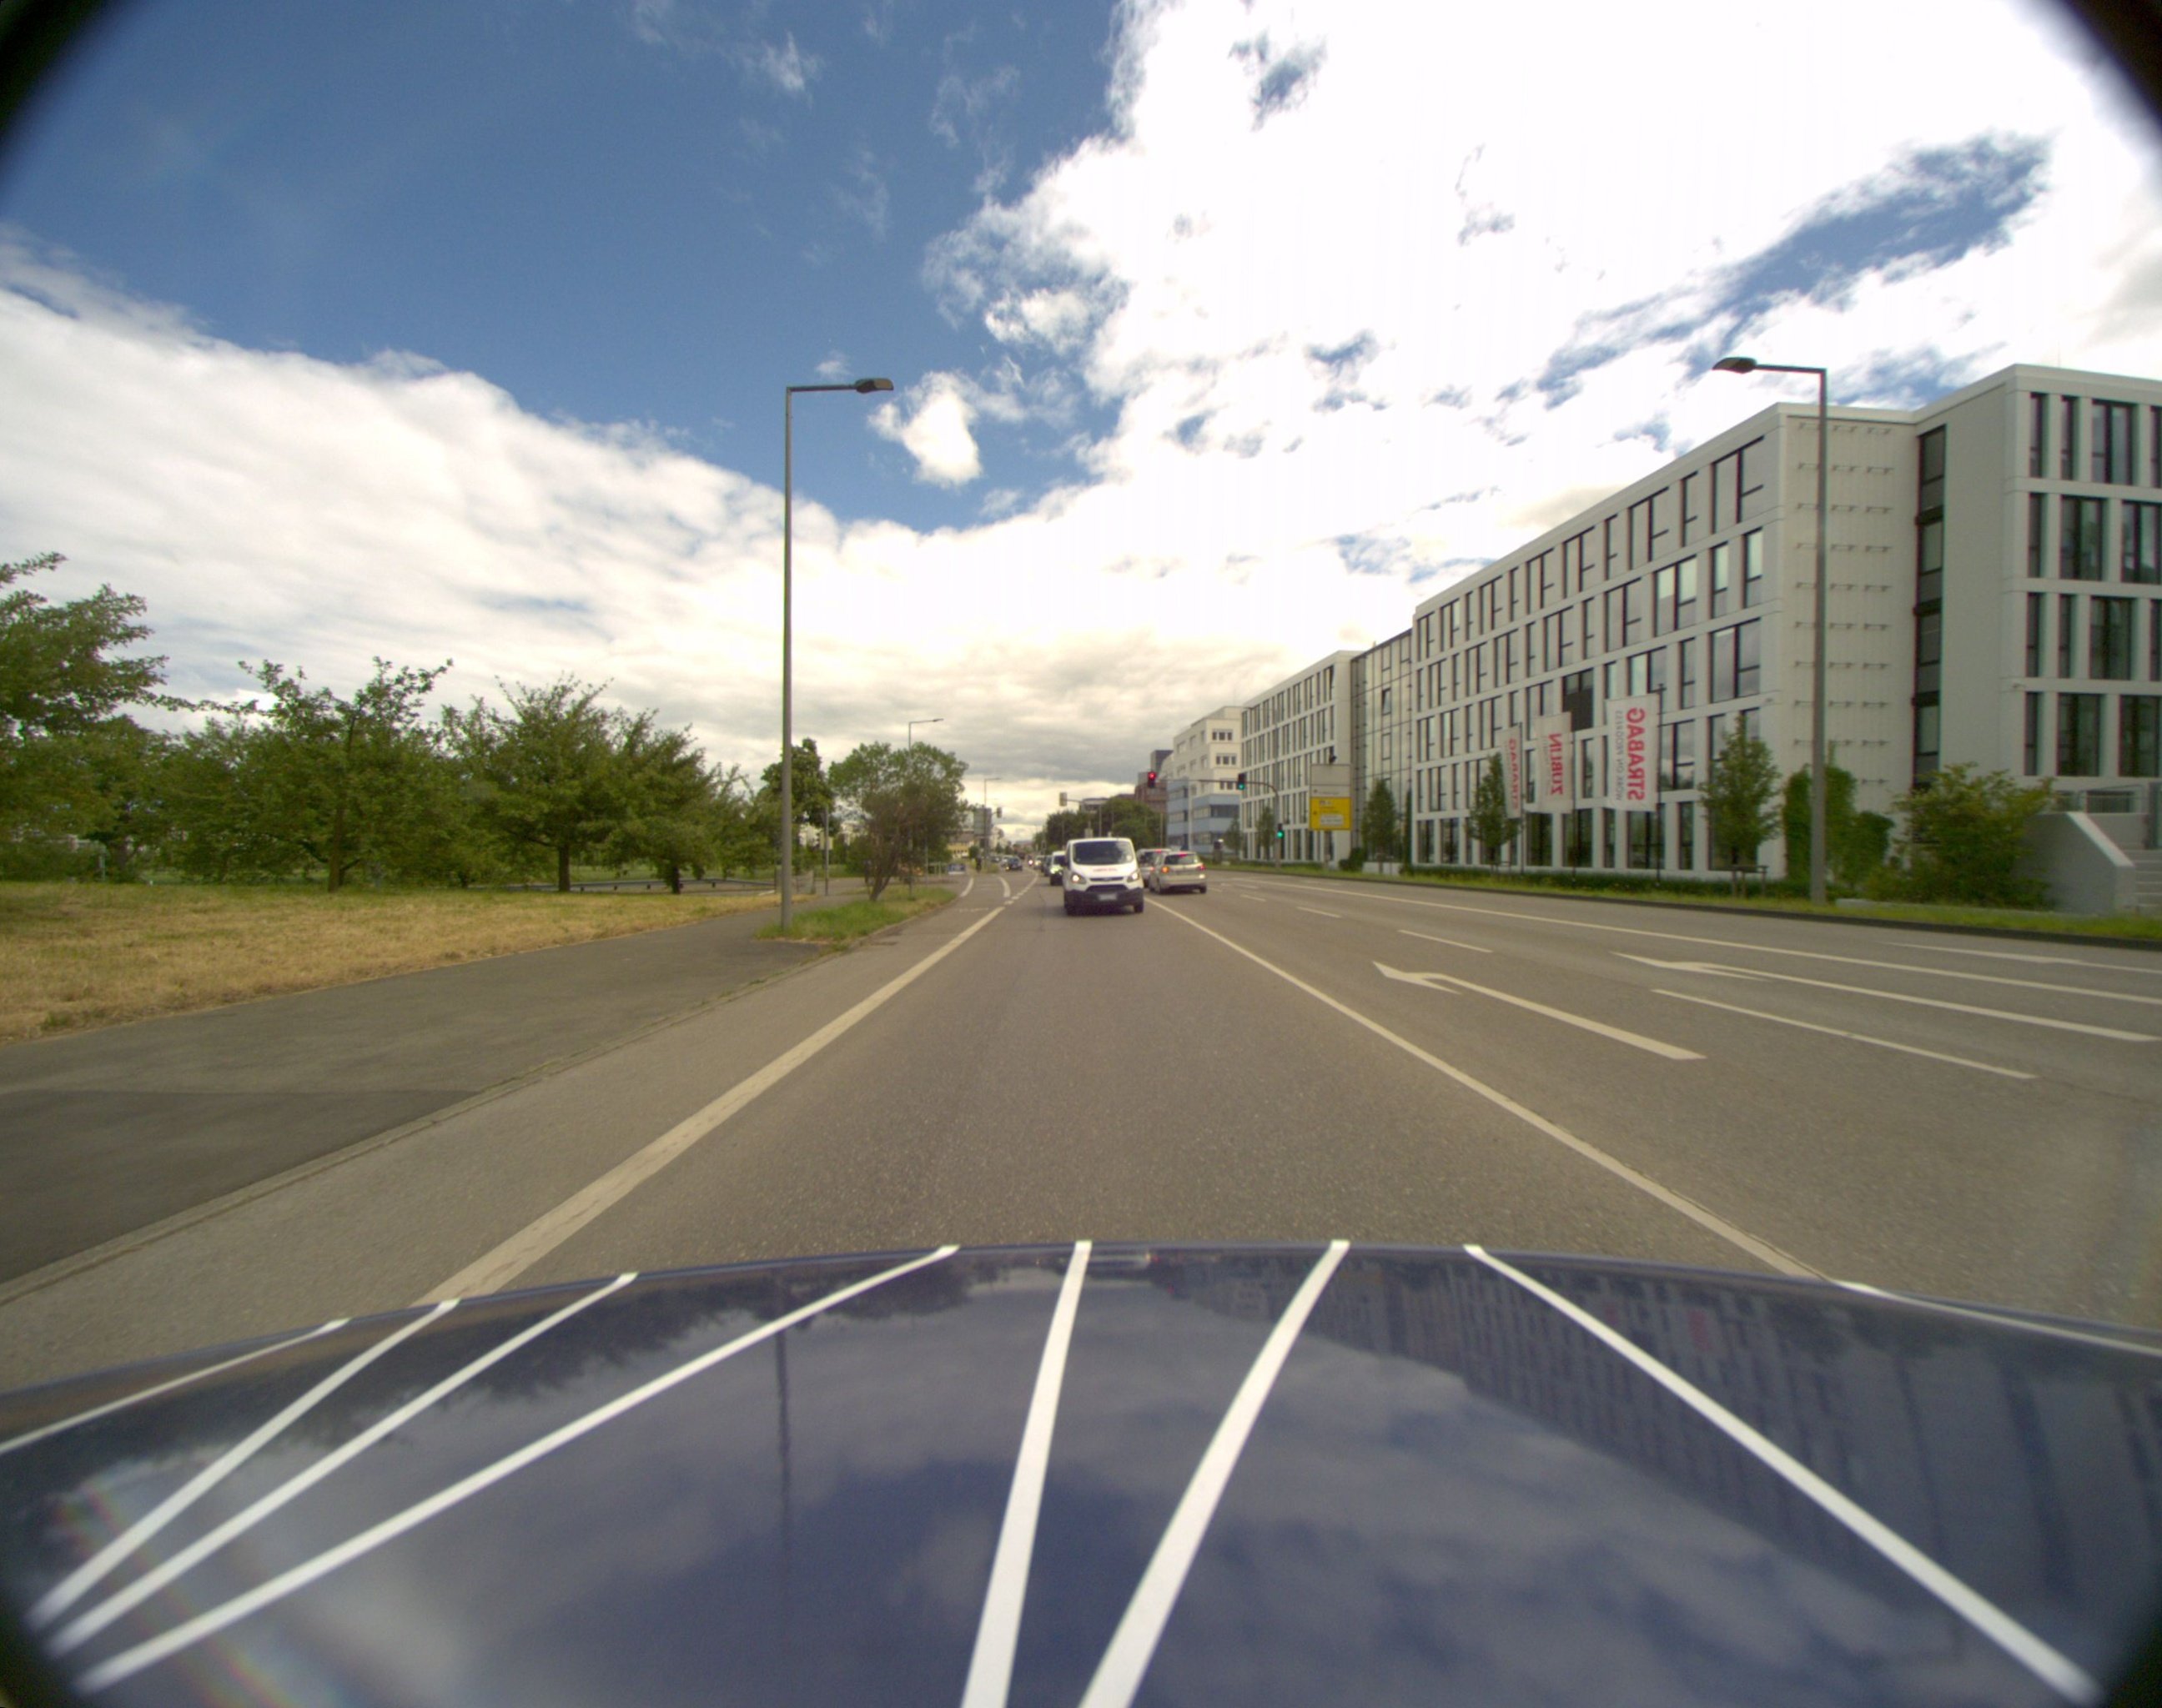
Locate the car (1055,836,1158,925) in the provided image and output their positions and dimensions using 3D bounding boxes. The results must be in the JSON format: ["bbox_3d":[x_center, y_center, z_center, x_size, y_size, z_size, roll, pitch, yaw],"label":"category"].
[{"bbox_3d":[0.483,0.603,20.574,2.123,1.963,6.204,-2,0,-4],"label":"car"}]

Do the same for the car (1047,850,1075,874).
[{"bbox_3d":[-1.555,0.574,57.733,1.873,1.685,4.369,-2,0,-4],"label":"car"}]

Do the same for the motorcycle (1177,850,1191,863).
[{"bbox_3d":[8.752,0.185,64.648,0.656,1.106,1.933,-2,0,-6],"label":"motorcycle"}]

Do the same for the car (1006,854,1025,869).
[{"bbox_3d":[-6.744,0.745,78.494,1.736,1.432,4.366,-2,0,-4],"label":"car"}]

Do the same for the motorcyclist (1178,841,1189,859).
[{"bbox_3d":[8.724,-0.302,64.750,0.656,1.501,0.917,-2,1,-7],"label":"motorcyclist"}]

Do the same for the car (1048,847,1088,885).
[{"bbox_3d":[-0.739,0.597,40.447,1.873,1.836,4.369,-2,0,-4],"label":"car"}]

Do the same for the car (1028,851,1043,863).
[{"bbox_3d":[-6.222,0.403,104.390,1.873,1.685,4.369,-2,0,-5],"label":"car"}]

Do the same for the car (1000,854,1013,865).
[{"bbox_3d":[-10.503,0.704,106.667,1.736,1.432,4.366,-2,0,-6],"label":"car"}]

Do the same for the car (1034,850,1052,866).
[{"bbox_3d":[-4.183,0.461,84.109,1.873,1.685,4.369,-2,0,-4],"label":"car"}]

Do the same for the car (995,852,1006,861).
[{"bbox_3d":[-15.884,0.441,150.118,1.874,1.685,4.367,-2,0,-9],"label":"car"}]

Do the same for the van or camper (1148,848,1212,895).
[{"bbox_3d":[3.659,0.621,28.763,1.748,1.600,4.045,-2,0,-2],"label":"van or camper"}]

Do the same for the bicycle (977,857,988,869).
[{"bbox_3d":[-9.566,0.821,73.864,1.017,1.127,2.673,0,0,-8],"label":"bicycle"}]

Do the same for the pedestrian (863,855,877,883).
[{"bbox_3d":[-14.501,1.005,52.144,0.767,1.872,0.799,-2,1,-25],"label":"pedestrian"}]

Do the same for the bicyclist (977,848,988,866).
[{"bbox_3d":[-9.583,0.274,73.903,1.017,1.698,1.200,0,1,-9],"label":"bicyclist"}]

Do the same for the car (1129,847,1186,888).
[{"bbox_3d":[3.417,0.578,34.667,1.873,1.685,4.369,-2,0,-4],"label":"car"}]
